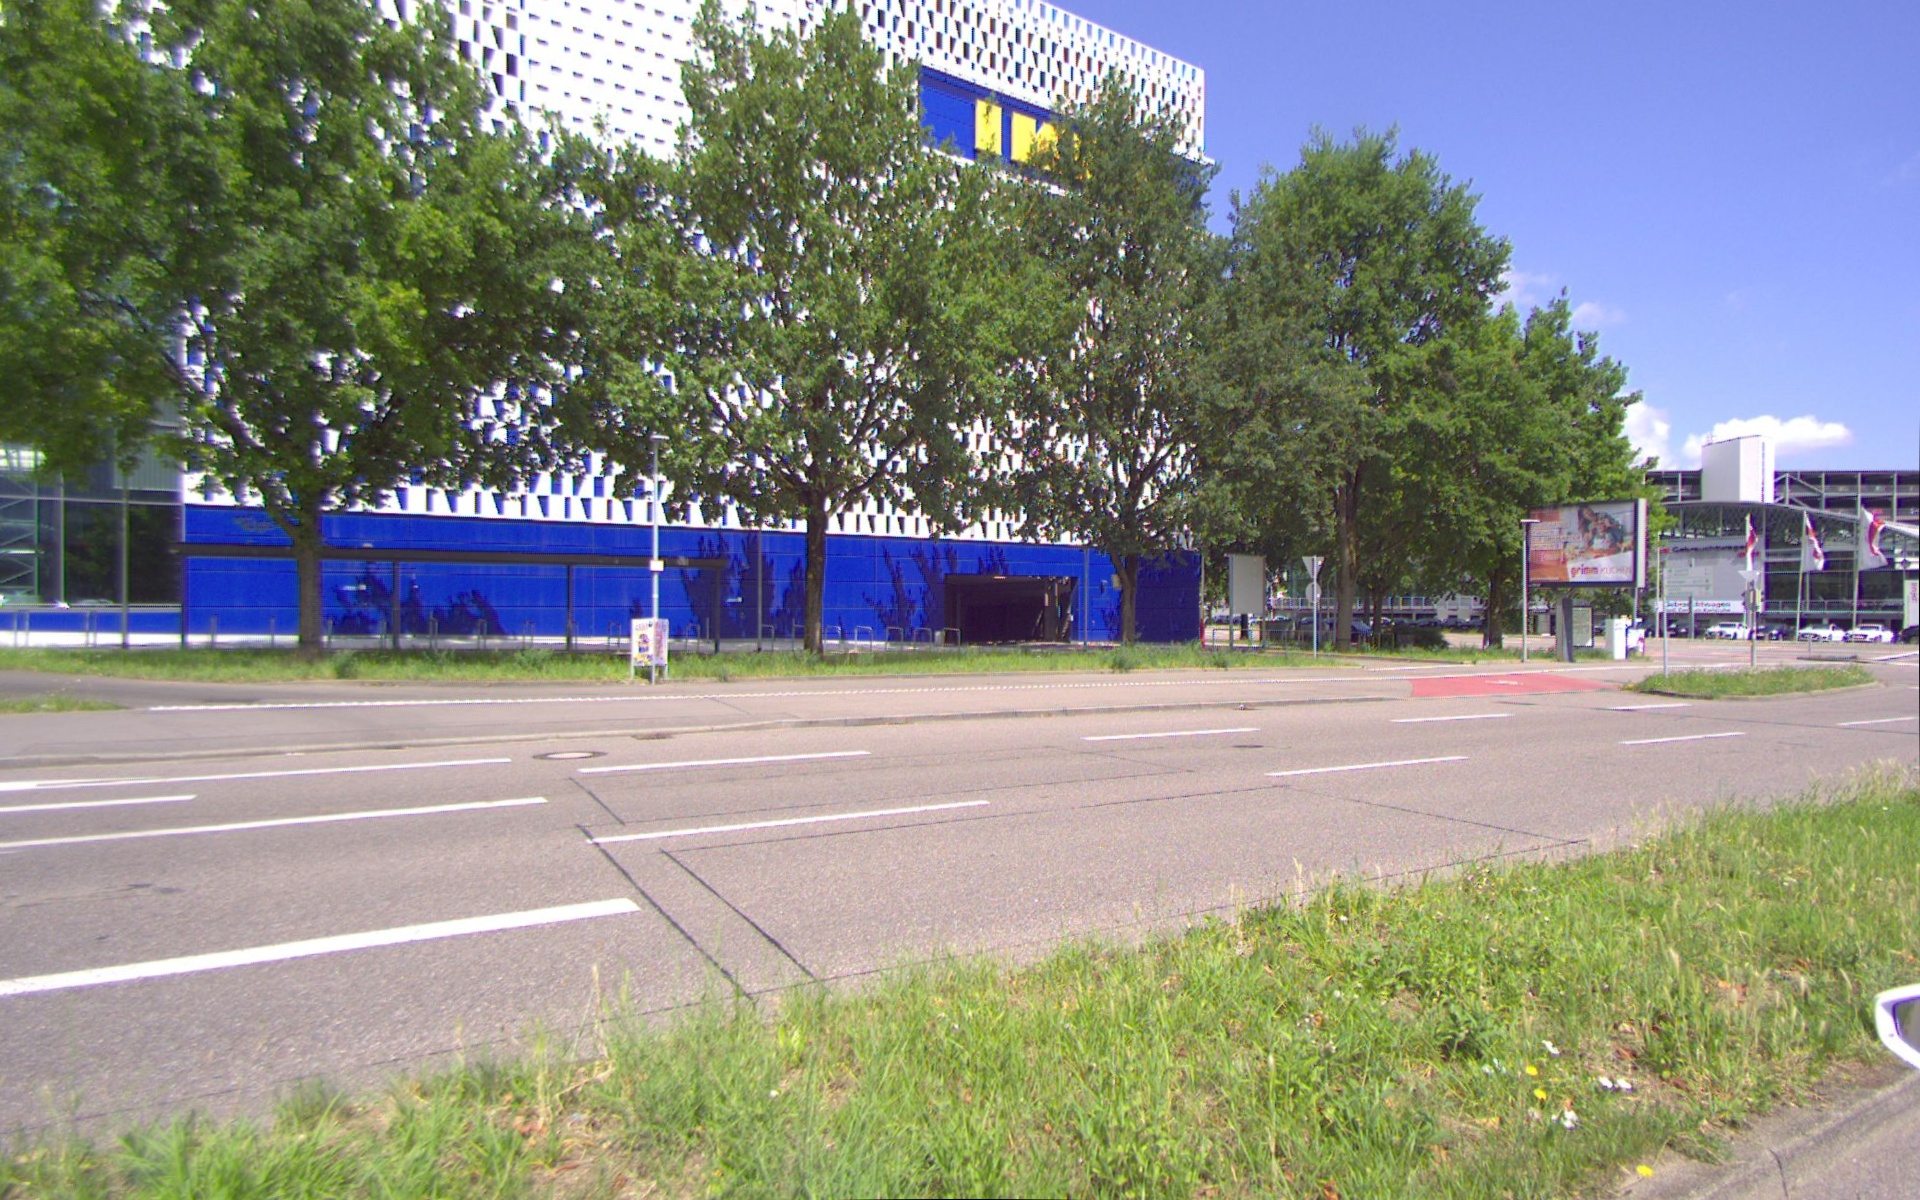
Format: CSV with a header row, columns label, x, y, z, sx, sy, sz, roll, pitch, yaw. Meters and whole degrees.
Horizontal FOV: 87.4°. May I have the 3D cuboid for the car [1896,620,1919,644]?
label,x,y,z,sx,sy,sz,roll,pitch,yaw
car,63.050,2.093,64.704,1.661,1.533,3.769,0,0,-34

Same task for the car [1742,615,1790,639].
label,x,y,z,sx,sy,sz,roll,pitch,yaw
car,58.285,1.936,72.632,3.578,1.683,1.746,0,1,-34

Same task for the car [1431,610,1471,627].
label,x,y,z,sx,sy,sz,roll,pitch,yaw
car,45.683,1.733,93.364,3.661,1.506,1.717,0,1,-33

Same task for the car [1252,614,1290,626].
label,x,y,z,sx,sy,sz,roll,pitch,yaw
car,34.563,2.217,111.596,3.952,1.271,1.789,0,0,-30

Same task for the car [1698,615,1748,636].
label,x,y,z,sx,sy,sz,roll,pitch,yaw
car,56.933,1.875,74.935,3.661,1.506,1.868,0,0,-33

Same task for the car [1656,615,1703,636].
label,x,y,z,sx,sy,sz,roll,pitch,yaw
car,55.383,1.970,77.316,3.661,1.506,1.717,0,1,-33

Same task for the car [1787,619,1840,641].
label,x,y,z,sx,sy,sz,roll,pitch,yaw
car,59.785,2.089,70.330,3.712,1.394,1.896,0,0,-33

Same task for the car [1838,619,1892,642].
label,x,y,z,sx,sy,sz,roll,pitch,yaw
car,61.414,2.065,68.179,3.986,1.469,1.765,0,0,-33
